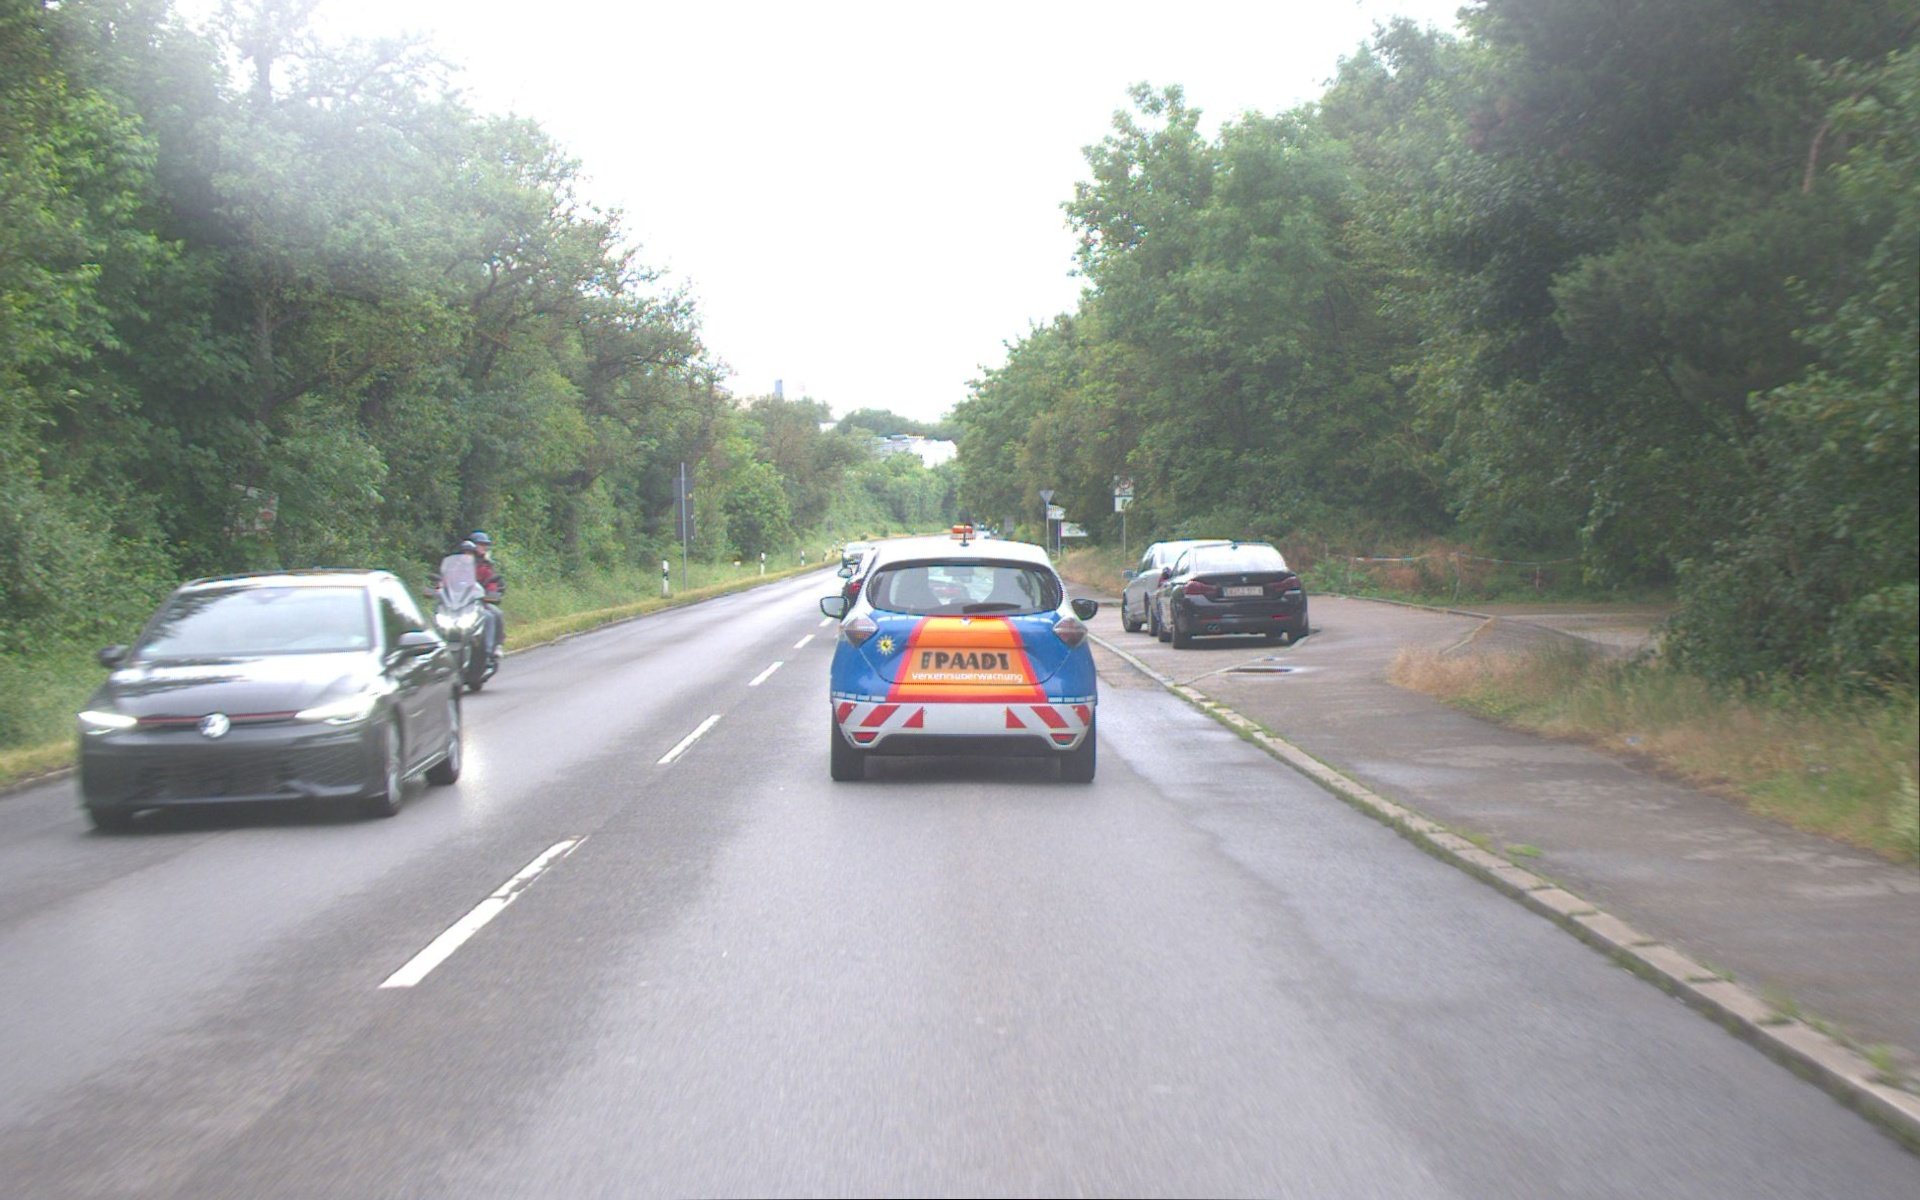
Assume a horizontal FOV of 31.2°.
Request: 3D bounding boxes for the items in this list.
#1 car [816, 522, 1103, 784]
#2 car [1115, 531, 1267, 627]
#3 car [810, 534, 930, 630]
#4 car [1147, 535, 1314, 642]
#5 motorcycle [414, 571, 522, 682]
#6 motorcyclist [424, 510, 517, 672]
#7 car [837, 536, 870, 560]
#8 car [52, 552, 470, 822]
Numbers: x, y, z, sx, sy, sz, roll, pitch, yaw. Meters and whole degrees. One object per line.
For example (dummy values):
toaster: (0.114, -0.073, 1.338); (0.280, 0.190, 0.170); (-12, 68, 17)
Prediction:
car: (-0.023, 0.287, 23.086); (1.752, 1.550, 3.793); (1, 2, -1)
car: (3.545, -0.354, 53.434); (1.993, 1.436, 4.068); (0, 1, -1)
car: (-1.259, -0.281, 49.322); (1.598, 1.282, 3.476); (-1, 1, 0)
car: (3.696, -0.191, 47.589); (1.993, 1.371, 4.000); (-1, 1, 0)
motorcycle: (-5.290, 0.266, 37.093); (0.868, 1.122, 2.395); (-1, 1, -1)
motorcyclist: (-5.291, -0.105, 37.202); (0.868, 1.717, 1.036); (-1, 1, -1)
car: (-6.278, -3.090, 202.666); (1.884, 1.382, 4.001); (0, 1, -2)
car: (-4.132, 0.447, 20.942); (1.710, 1.394, 4.150); (-3, 1, -1)
